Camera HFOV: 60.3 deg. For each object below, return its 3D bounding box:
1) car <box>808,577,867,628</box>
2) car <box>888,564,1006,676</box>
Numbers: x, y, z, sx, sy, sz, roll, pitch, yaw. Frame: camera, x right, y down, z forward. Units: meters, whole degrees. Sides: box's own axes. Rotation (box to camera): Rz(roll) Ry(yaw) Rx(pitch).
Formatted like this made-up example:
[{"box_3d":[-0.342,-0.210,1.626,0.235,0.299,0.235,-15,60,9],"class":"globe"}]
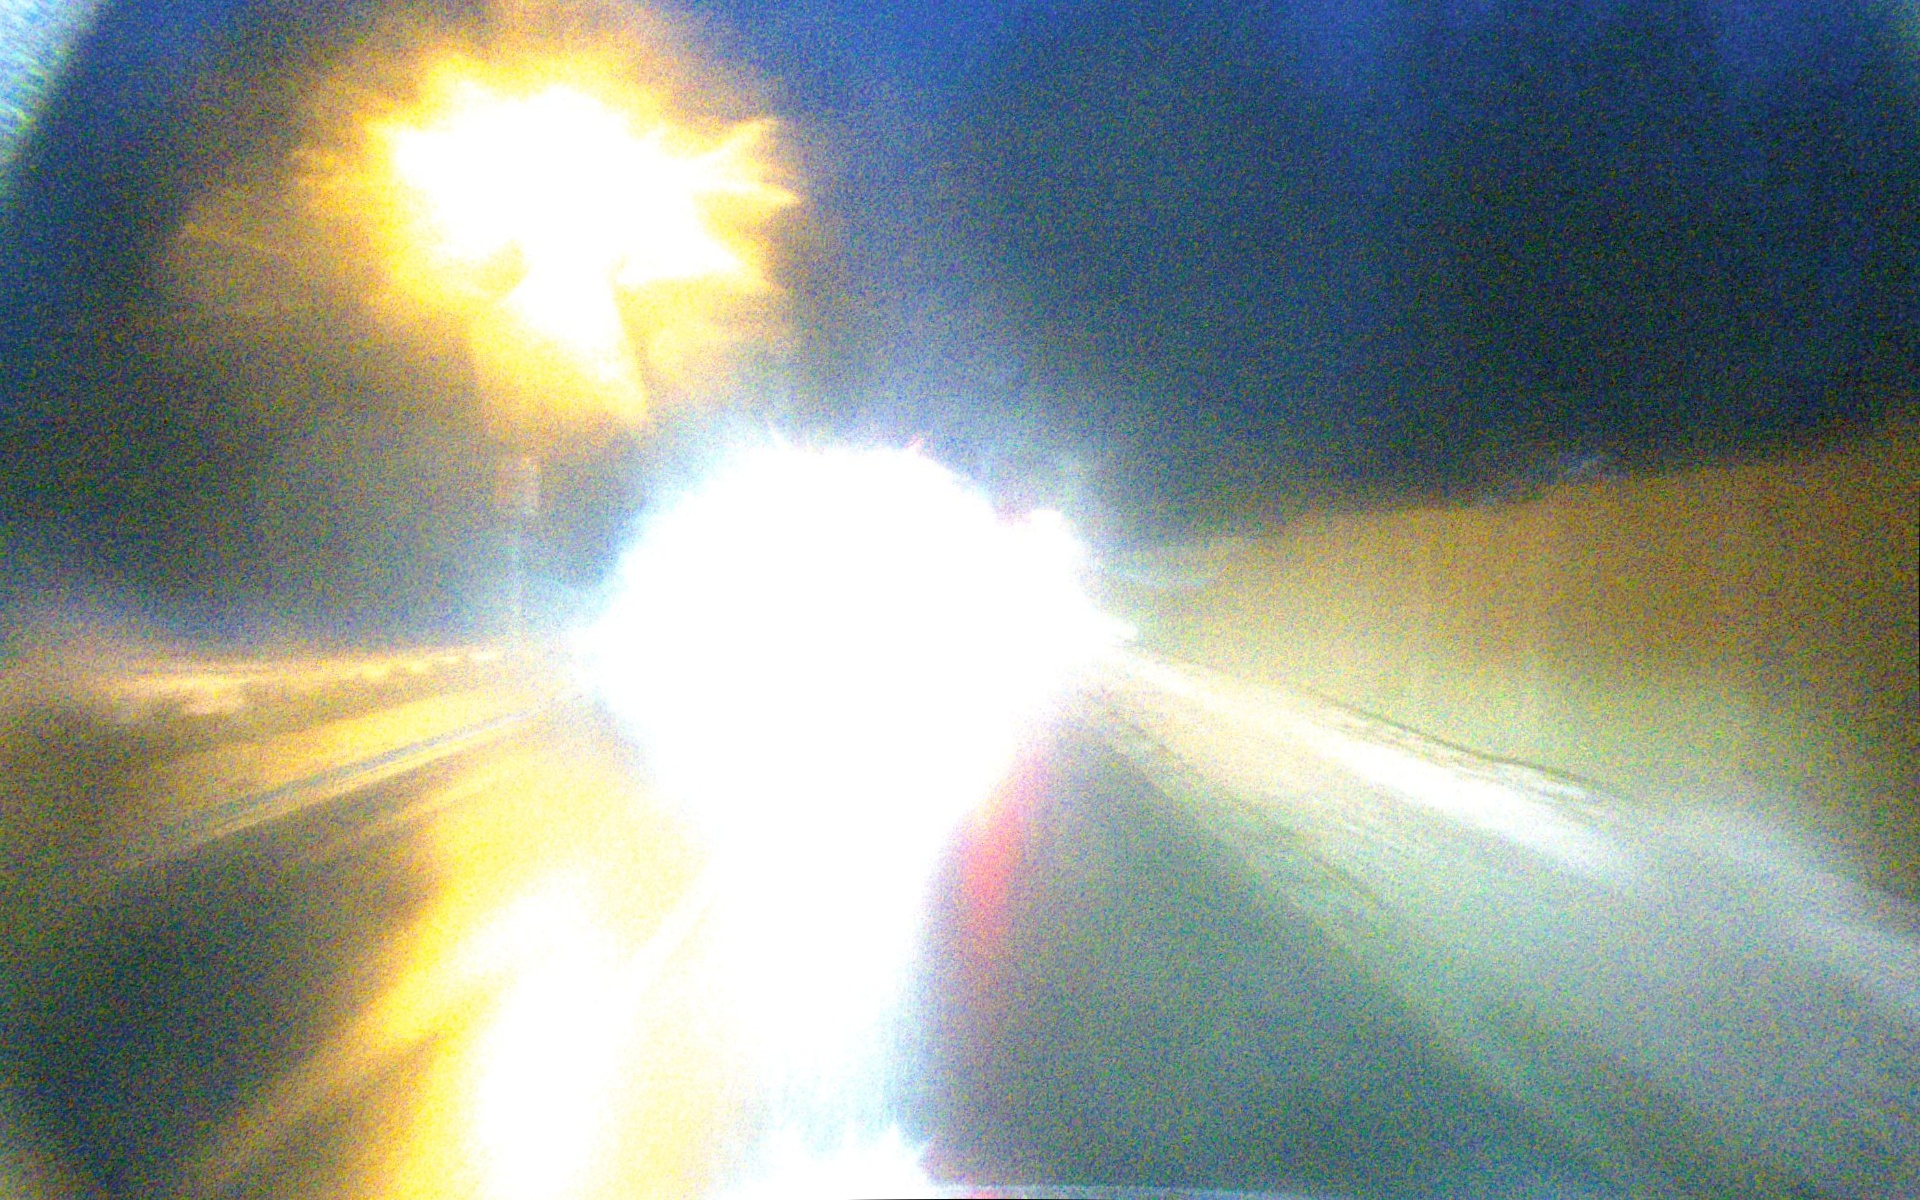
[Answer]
[{"box_3d":[-3.959,0.074,53.873,1.697,1.545,4.014,1,0,-2],"class":"car"},{"box_3d":[-0.231,0.323,27.591,1.765,1.657,3.614,3,0,-1],"class":"car"}]
